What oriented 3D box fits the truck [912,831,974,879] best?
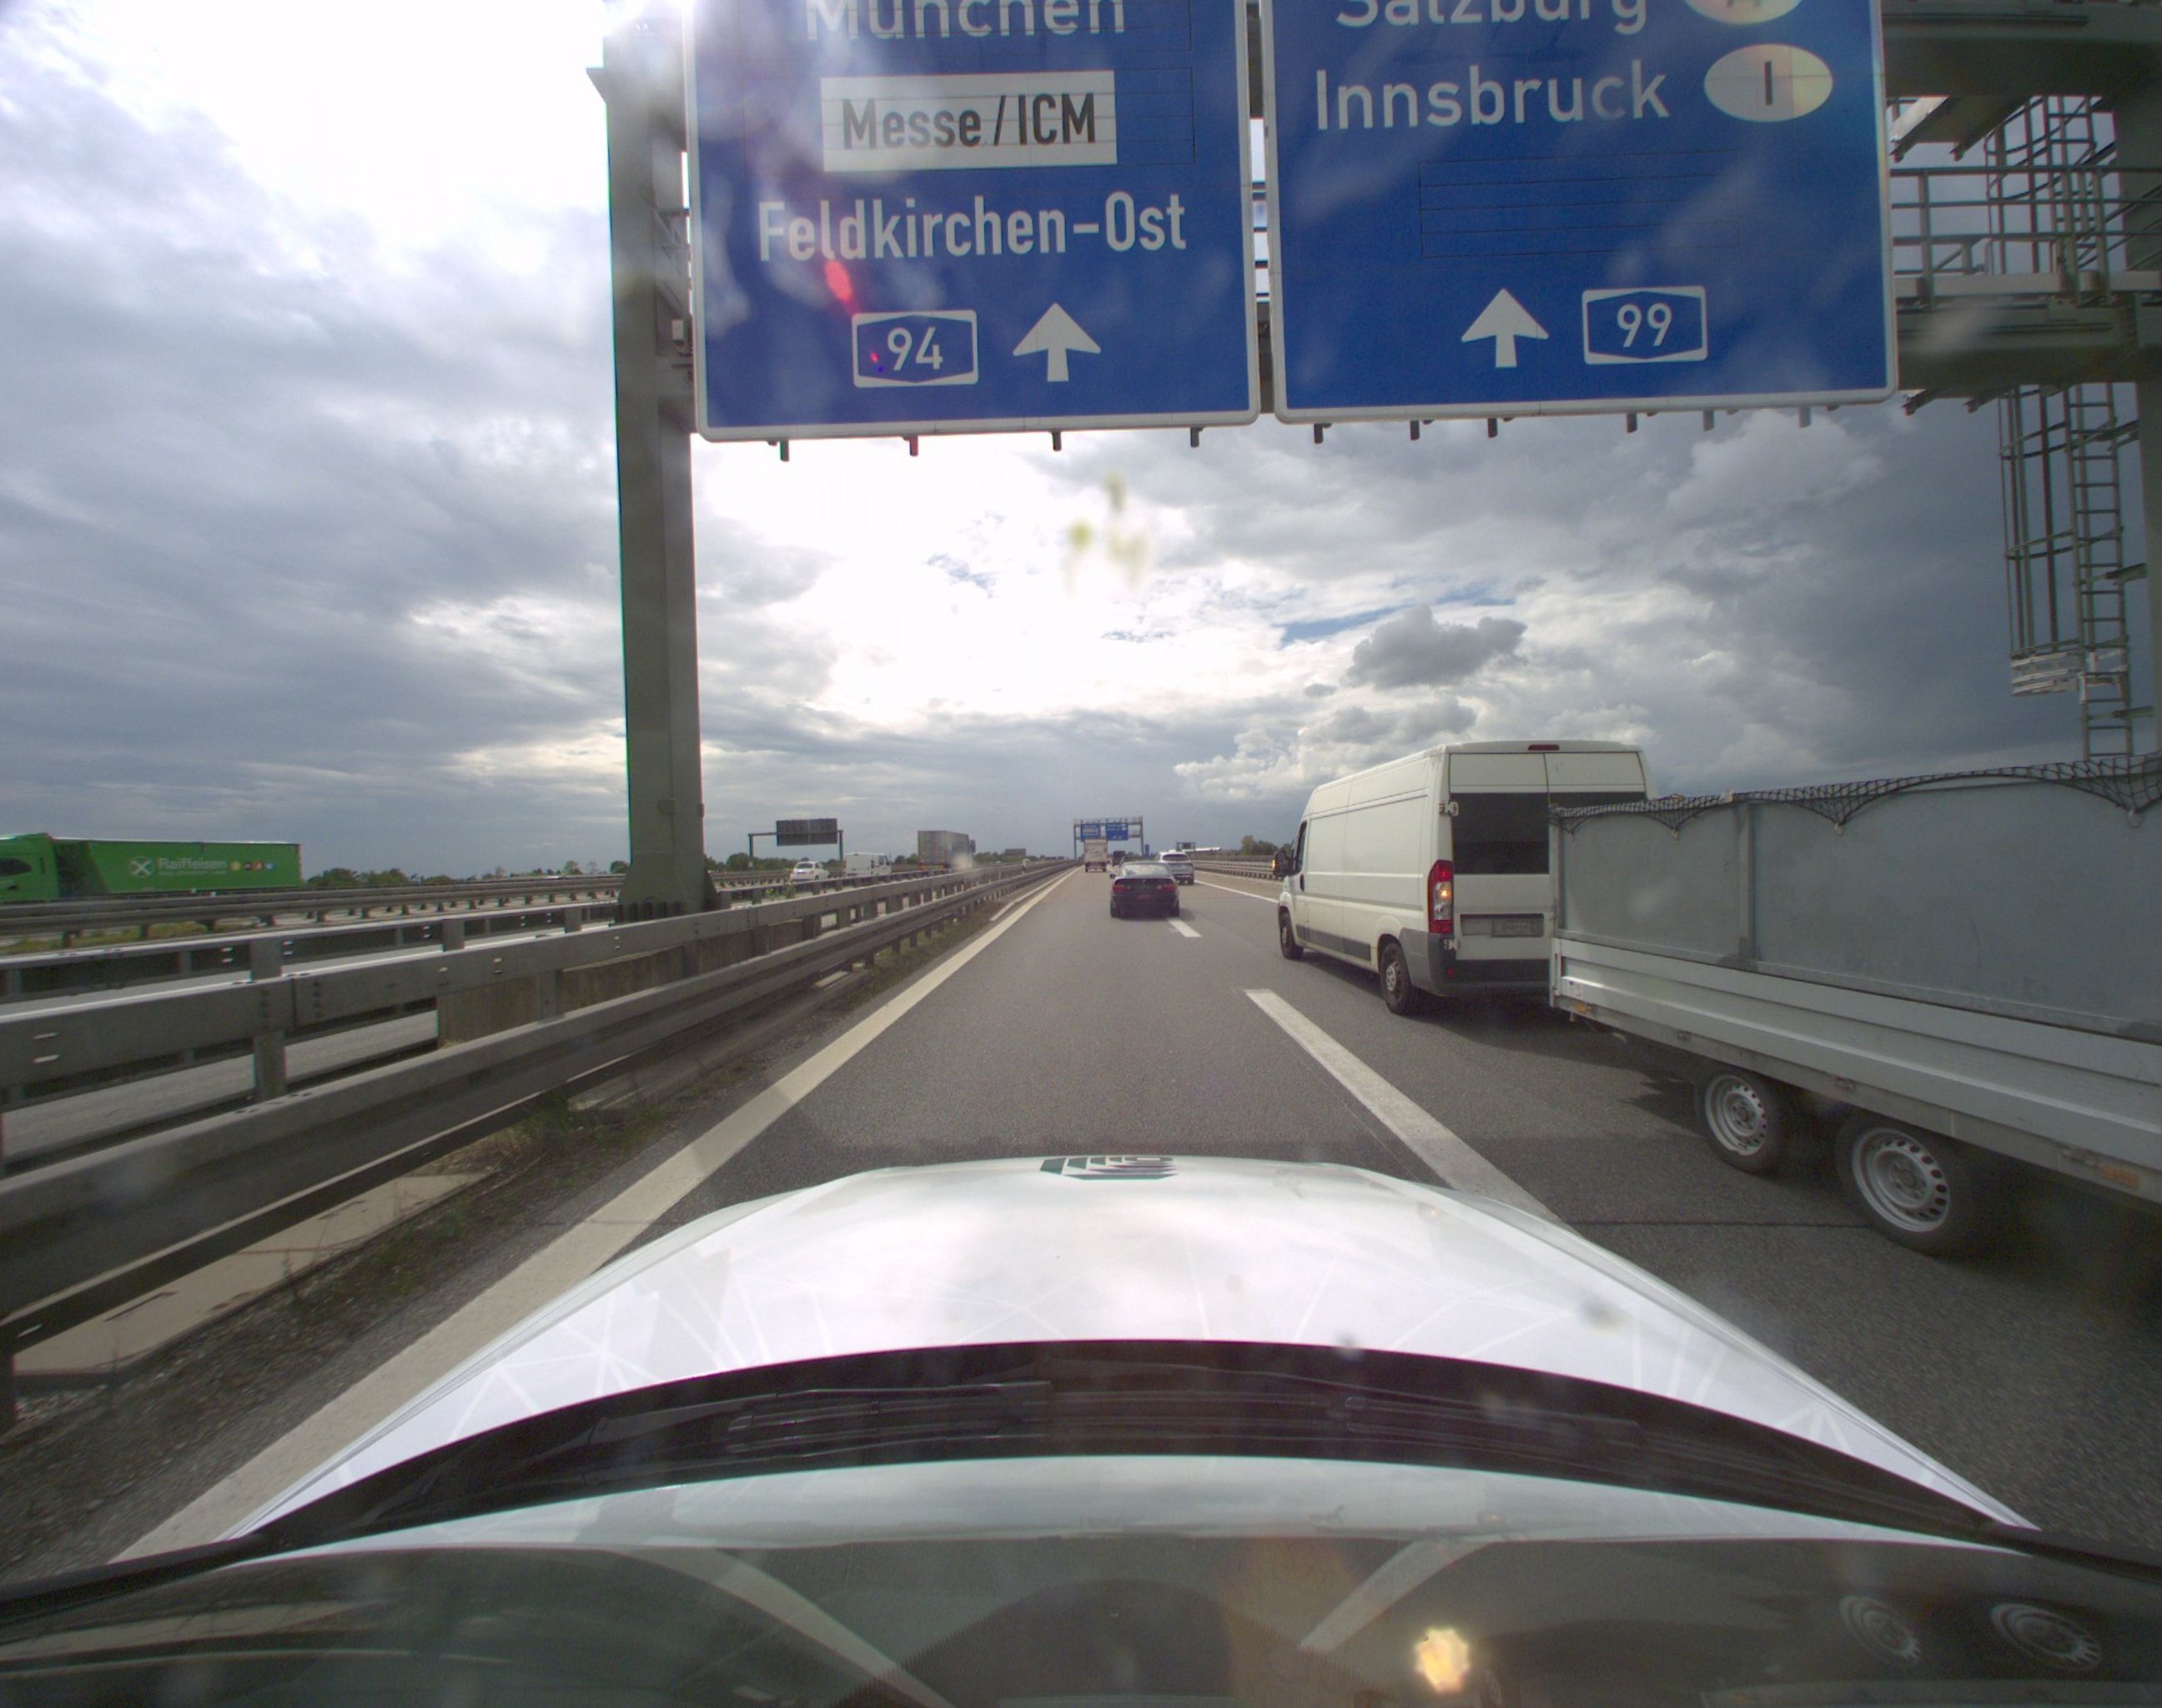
[{"bbox_3d":[-12.900,0.075,77.829,3.173,4.019,16.071,0,0,0],"label":"truck"}]

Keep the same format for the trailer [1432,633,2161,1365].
[{"bbox_3d":[3.855,0.390,4.404,1.849,2.013,4.629,0,0,-1],"label":"trailer"}]

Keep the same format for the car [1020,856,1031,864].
[{"bbox_3d":[-11.238,1.264,166.224,1.821,1.563,4.002,-1,0,2],"label":"car"}]

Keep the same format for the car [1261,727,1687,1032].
[{"bbox_3d":[3.870,0.199,9.675,2.107,2.454,6.151,0,0,0],"label":"car"}]

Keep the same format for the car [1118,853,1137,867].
[{"bbox_3d":[5.117,0.628,89.365,1.878,1.552,4.000,0,0,1],"label":"car"}]

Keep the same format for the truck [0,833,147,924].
[{"bbox_3d":[-44.535,1.006,34.498,3.031,3.609,5.894,-1,0,0],"label":"truck"}]

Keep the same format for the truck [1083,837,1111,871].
[{"bbox_3d":[1.534,0.096,78.306,2.560,3.126,8.634,0,-1,1],"label":"truck"}]

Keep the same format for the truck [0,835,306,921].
[{"bbox_3d":[-44.494,0.998,39.872,3.003,3.635,10.437,0,0,0],"label":"truck"}]

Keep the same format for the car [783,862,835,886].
[{"bbox_3d":[-17.272,1.225,51.844,1.790,1.420,4.002,0,0,2],"label":"car"}]

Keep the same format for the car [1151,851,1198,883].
[{"bbox_3d":[4.560,0.617,40.338,1.814,1.514,3.999,0,0,-1],"label":"car"}]

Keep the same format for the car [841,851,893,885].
[{"bbox_3d":[-13.031,0.819,49.876,1.986,2.013,4.375,0,0,1],"label":"car"}]

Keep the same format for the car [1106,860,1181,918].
[{"bbox_3d":[1.665,0.835,20.900,1.695,1.281,4.373,0,0,6],"label":"car"}]

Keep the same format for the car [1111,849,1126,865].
[{"bbox_3d":[5.465,0.477,119.347,1.900,2.262,4.649,0,0,0],"label":"car"}]
